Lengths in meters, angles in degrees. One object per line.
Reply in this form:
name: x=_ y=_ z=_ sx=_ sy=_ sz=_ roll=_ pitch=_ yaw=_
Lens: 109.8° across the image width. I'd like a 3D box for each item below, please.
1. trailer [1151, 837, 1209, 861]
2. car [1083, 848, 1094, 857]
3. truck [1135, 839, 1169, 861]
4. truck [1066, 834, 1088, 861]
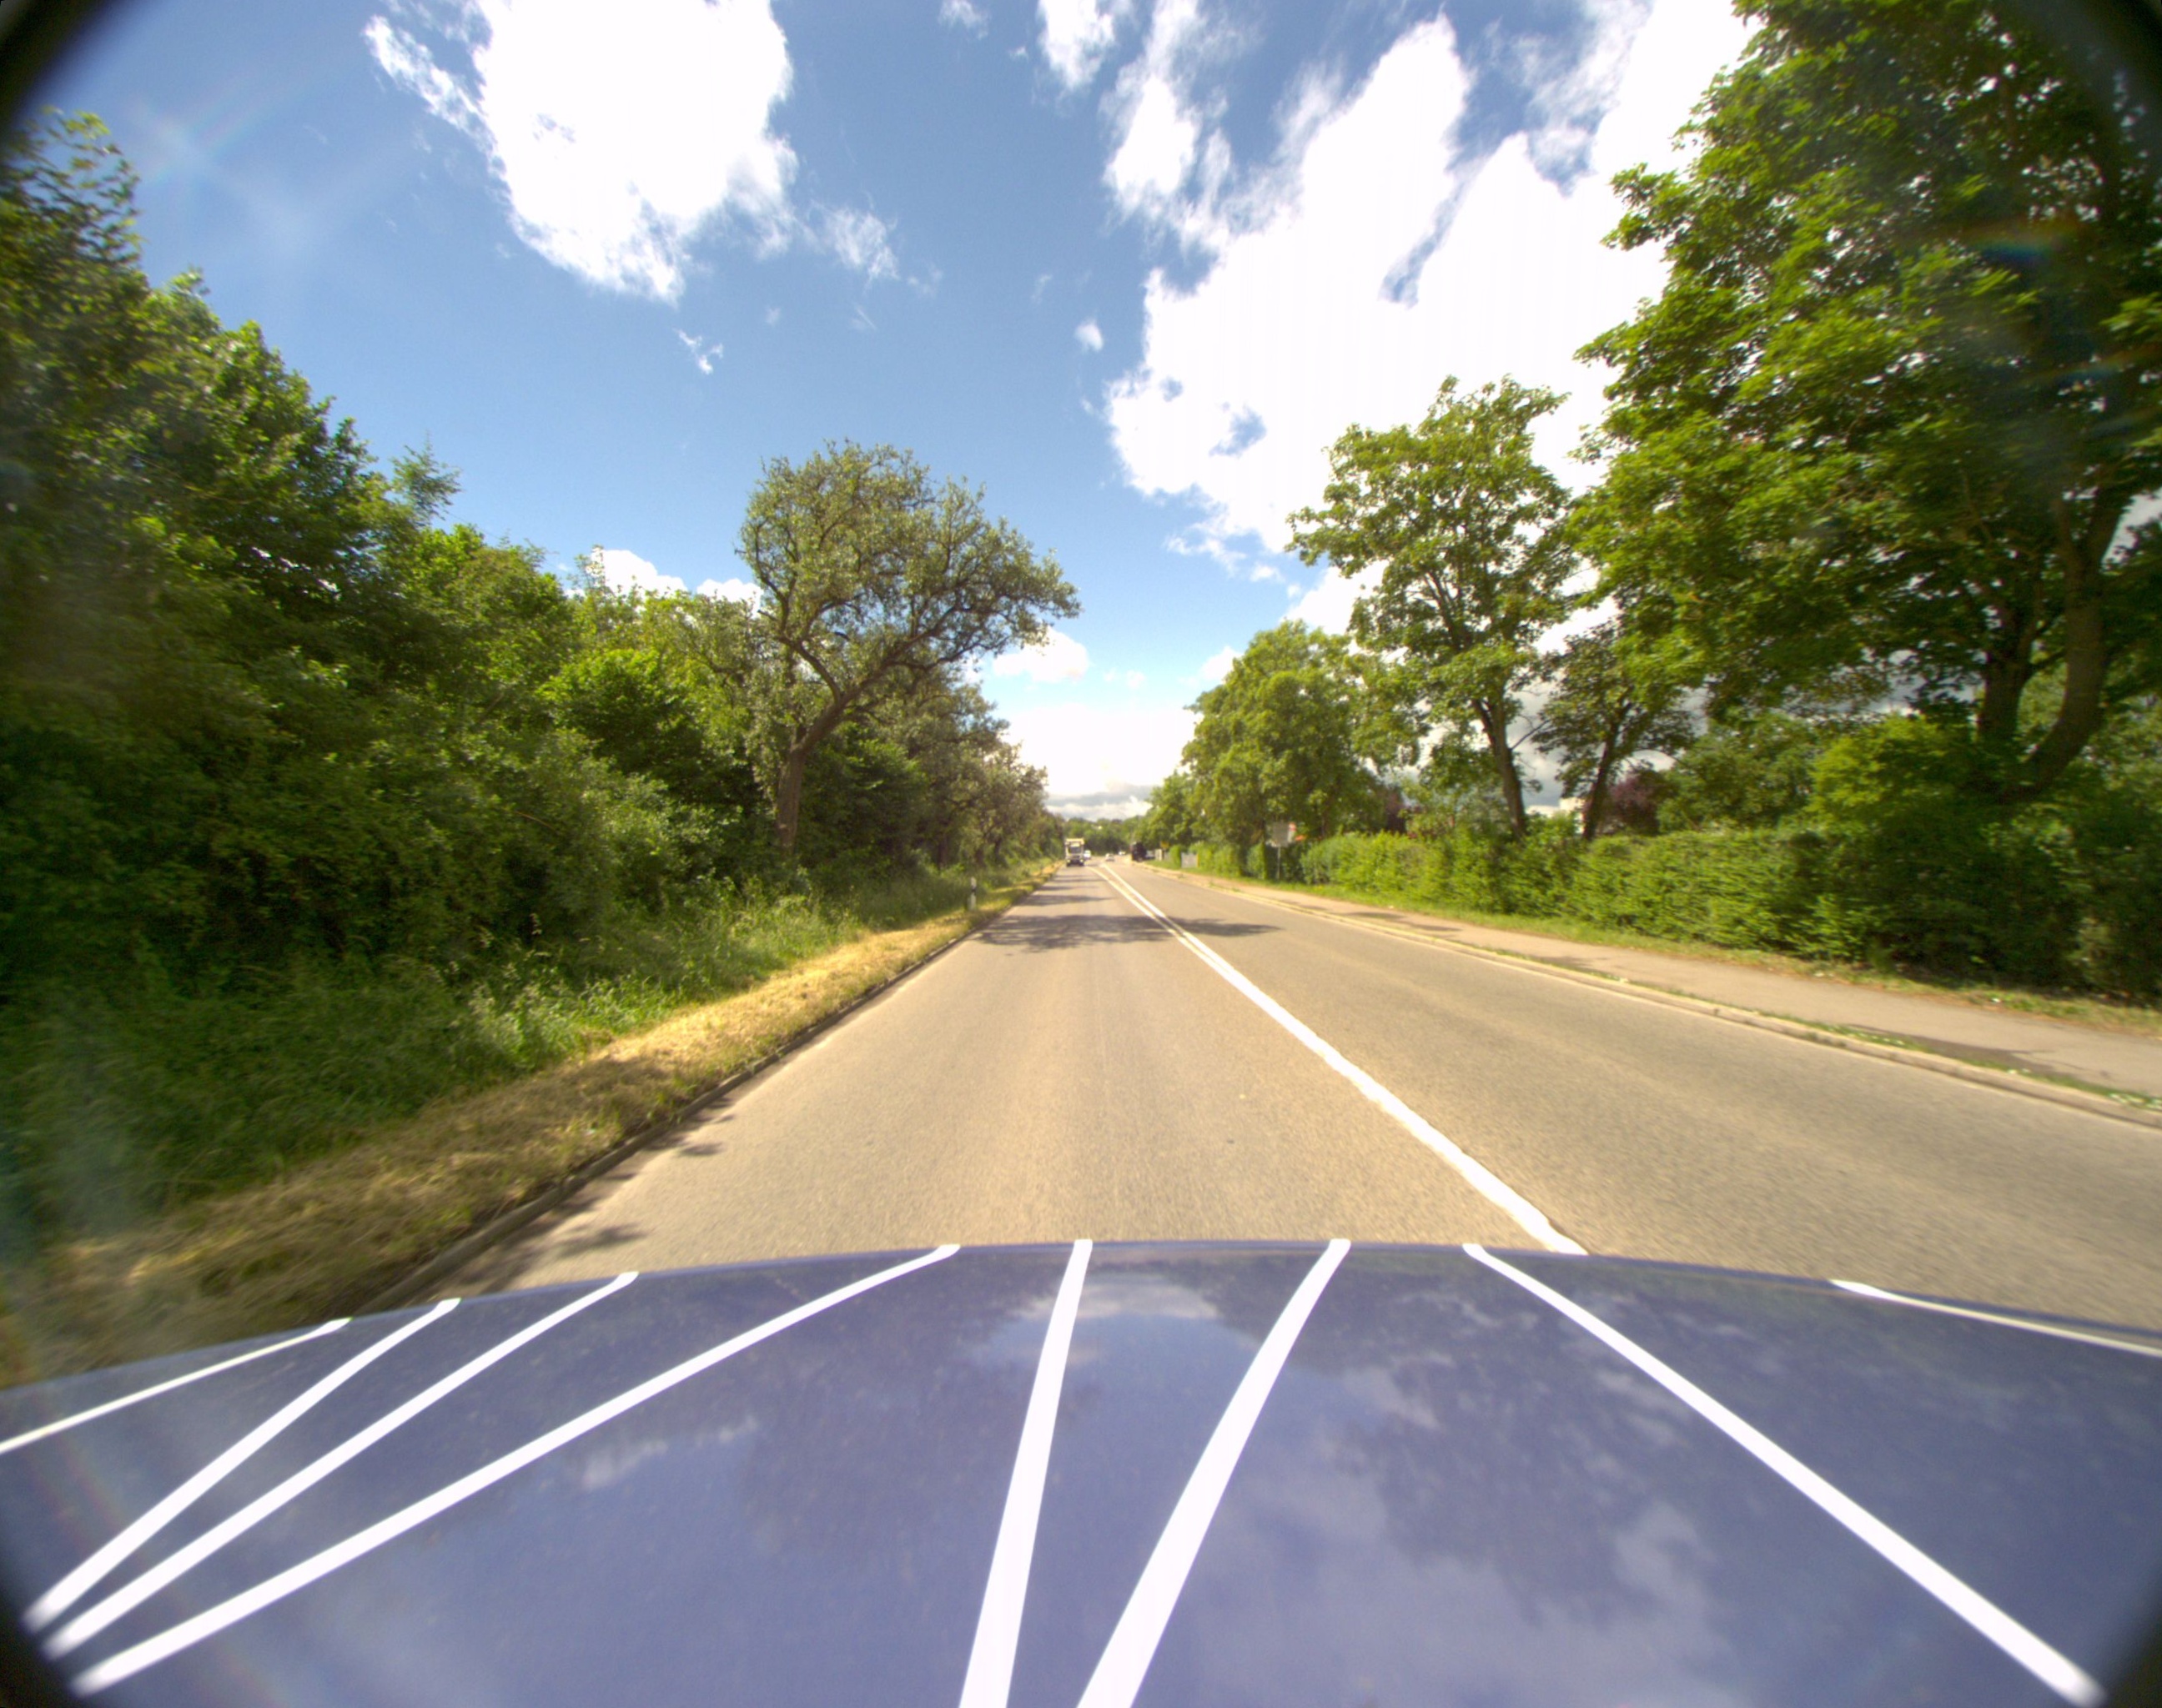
trailer: x=17.396 y=-0.841 z=133.601 sx=9.472 sy=4.059 sz=3.315 roll=-1 pitch=1 yaw=-15
car: x=1.697 y=-0.316 z=164.682 sx=1.953 sy=2.002 sz=4.002 roll=0 pitch=0 yaw=8
truck: x=12.339 y=-0.738 z=132.604 sx=5.570 sy=3.802 sz=2.983 roll=0 pitch=1 yaw=-4
truck: x=-0.482 y=-0.917 z=107.490 sx=2.904 sy=3.746 sz=9.633 roll=0 pitch=1 yaw=0
